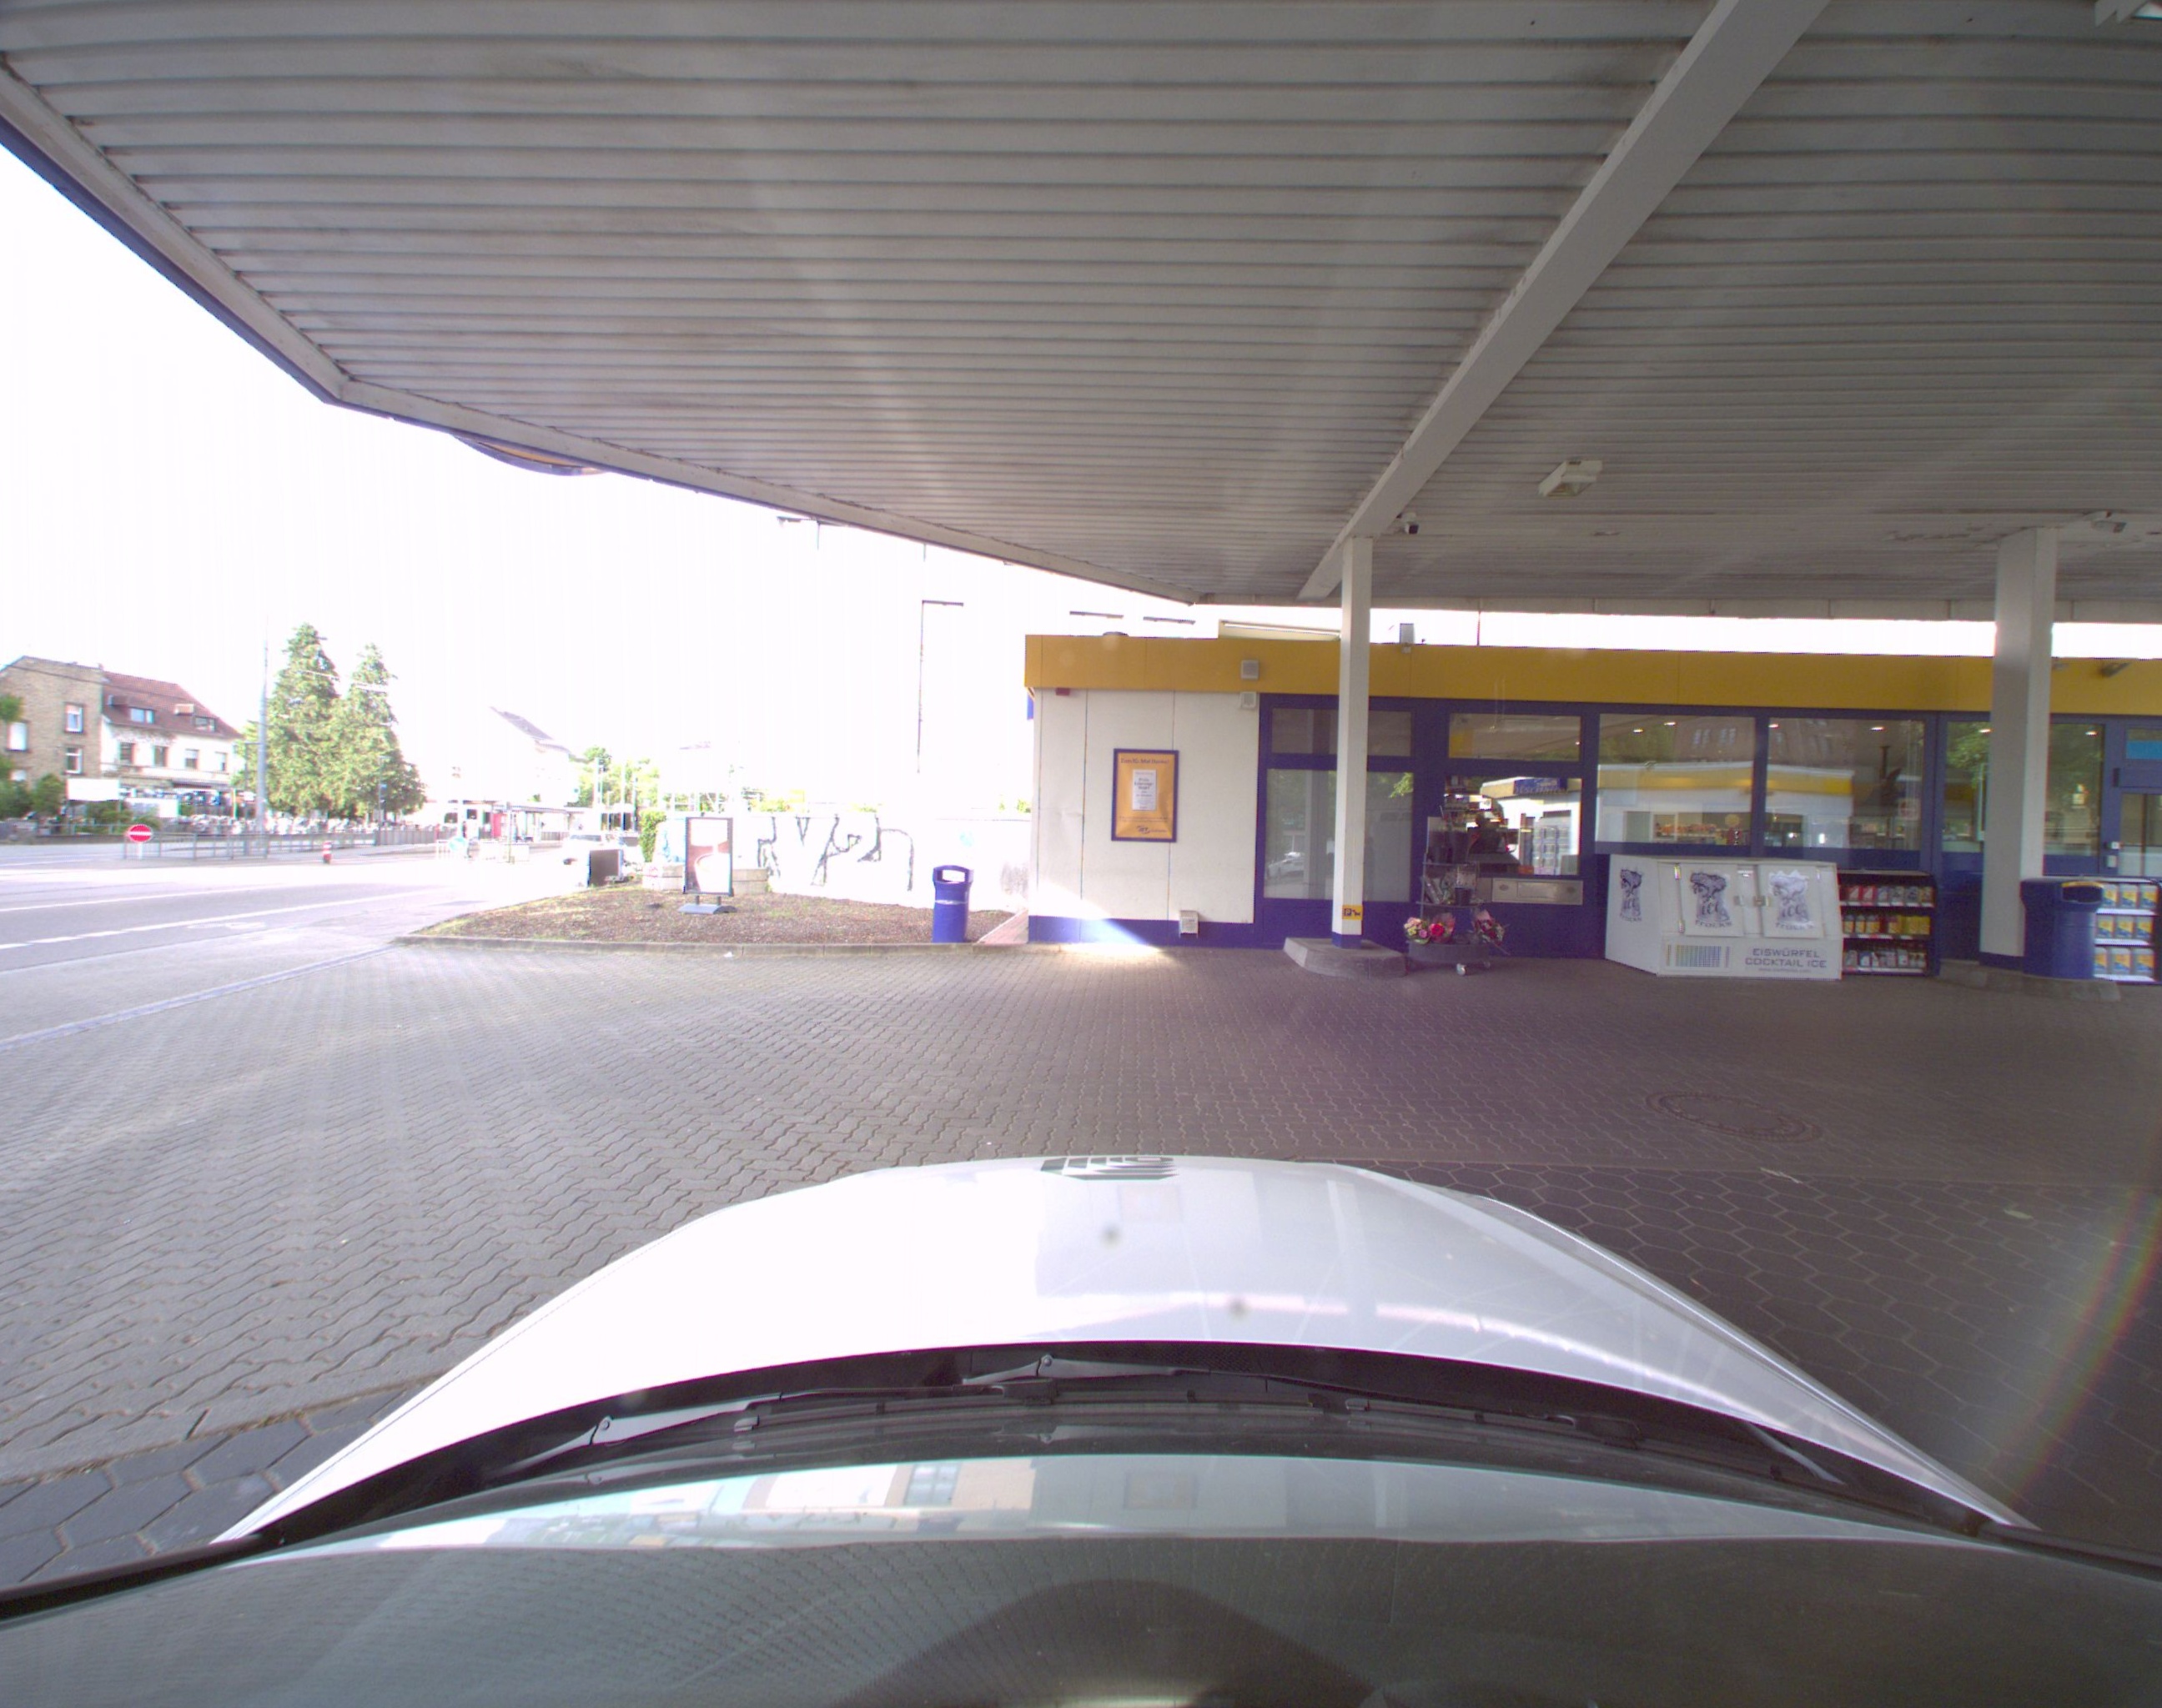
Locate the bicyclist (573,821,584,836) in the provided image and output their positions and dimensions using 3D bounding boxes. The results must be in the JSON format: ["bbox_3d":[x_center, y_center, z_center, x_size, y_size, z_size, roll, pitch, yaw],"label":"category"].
[{"bbox_3d":[-52.979,-2.654,85.917,0.680,1.534,1.080,0,1,-16],"label":"bicyclist"}]

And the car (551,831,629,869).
[{"bbox_3d":[-21.371,-0.215,35.609,1.756,1.476,3.981,3,1,-14],"label":"car"}]

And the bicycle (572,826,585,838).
[{"bbox_3d":[-52.985,-2.313,85.918,0.679,1.222,1.909,0,1,-15],"label":"bicycle"}]

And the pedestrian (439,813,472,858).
[{"bbox_3d":[-28.585,-0.814,37.219,0.800,2.014,0.854,-1,-1,16],"label":"pedestrian"}]
